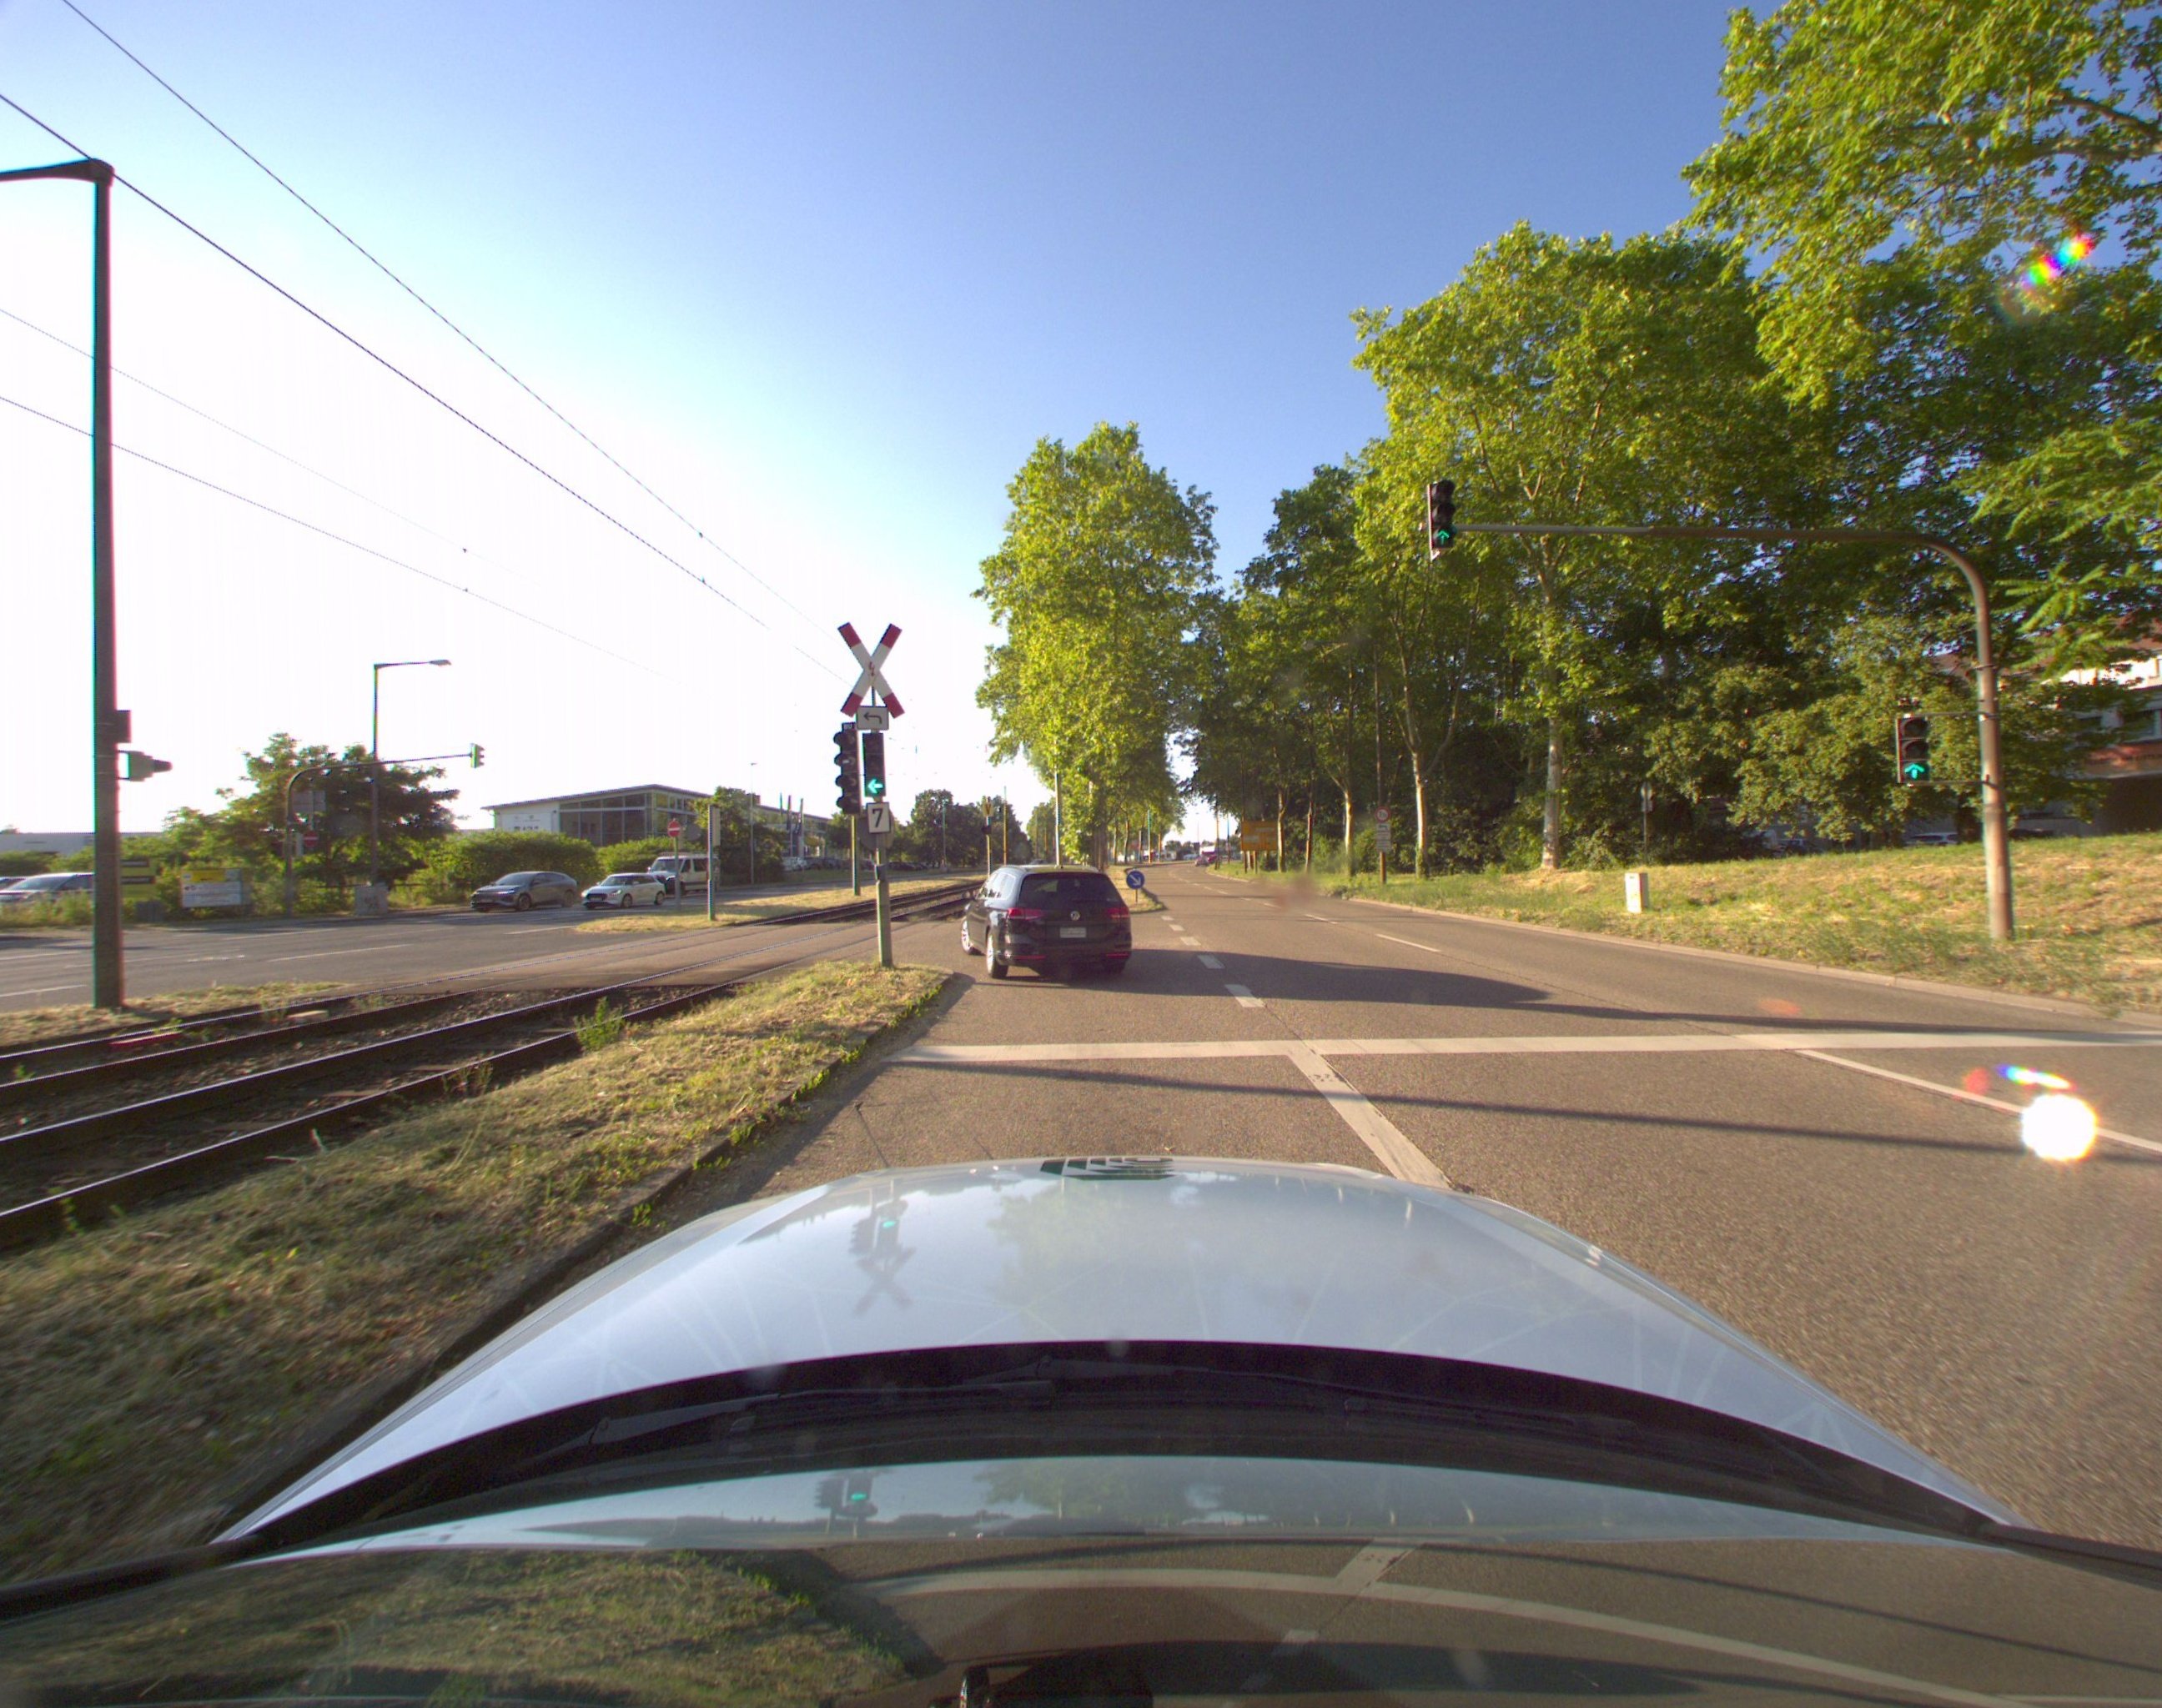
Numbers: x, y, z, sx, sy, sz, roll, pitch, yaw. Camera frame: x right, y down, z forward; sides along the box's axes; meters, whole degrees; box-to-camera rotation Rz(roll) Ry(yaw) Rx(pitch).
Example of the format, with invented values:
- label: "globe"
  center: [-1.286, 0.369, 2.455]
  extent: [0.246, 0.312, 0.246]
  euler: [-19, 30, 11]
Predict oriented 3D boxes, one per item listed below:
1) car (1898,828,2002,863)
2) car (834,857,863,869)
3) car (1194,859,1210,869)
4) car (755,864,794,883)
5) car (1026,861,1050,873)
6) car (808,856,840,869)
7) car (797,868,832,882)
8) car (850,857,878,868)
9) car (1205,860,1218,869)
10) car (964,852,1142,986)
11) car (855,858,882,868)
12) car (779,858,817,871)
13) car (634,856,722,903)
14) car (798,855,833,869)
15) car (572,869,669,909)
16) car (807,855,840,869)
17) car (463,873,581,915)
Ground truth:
- label: "car"
  center: [43.727, -0.426, 40.987]
  extent: [3.993, 1.706, 1.909]
  euler: [0, -1, -15]
- label: "car"
  center: [-31.616, 1.180, 110.911]
  extent: [3.796, 1.567, 1.749]
  euler: [0, -1, -17]
- label: "car"
  center: [18.107, 1.544, 121.617]
  extent: [1.979, 1.442, 4.015]
  euler: [-1, -1, 14]
- label: "car"
  center: [-32.193, 2.050, 85.653]
  extent: [3.796, 1.860, 1.749]
  euler: [0, -1, -17]
- label: "car"
  center: [-6.332, 1.913, 119.232]
  extent: [1.792, 1.684, 4.023]
  euler: [-1, -1, 25]
- label: "car"
  center: [-32.065, 1.079, 101.641]
  extent: [3.796, 1.567, 1.749]
  euler: [0, -1, -17]
- label: "car"
  center: [-31.307, 2.489, 95.719]
  extent: [3.796, 1.567, 1.749]
  euler: [0, -1, -17]
- label: "car"
  center: [-31.166, 1.275, 117.077]
  extent: [3.796, 1.567, 1.749]
  euler: [0, -1, -17]
- label: "car"
  center: [21.127, 1.656, 131.667]
  extent: [1.981, 1.440, 4.011]
  euler: [-1, -1, 10]
- label: "car"
  center: [-0.607, 0.788, 11.775]
  extent: [1.826, 1.556, 4.240]
  euler: [0, -1, -13]
- label: "car"
  center: [-31.292, 1.320, 119.872]
  extent: [3.796, 1.567, 1.749]
  euler: [0, -1, -17]
- label: "car"
  center: [-30.855, 1.111, 88.961]
  extent: [3.796, 1.388, 1.749]
  euler: [0, -1, -17]
- label: "car"
  center: [-23.591, 1.452, 47.969]
  extent: [1.995, 2.566, 5.880]
  euler: [-1, -1, 3]
- label: "car"
  center: [-30.406, 0.888, 93.249]
  extent: [3.796, 1.567, 1.749]
  euler: [0, -1, -17]
- label: "car"
  center: [-20.067, 1.501, 35.705]
  extent: [1.863, 1.618, 4.001]
  euler: [-1, -1, 1]
- label: "car"
  center: [-31.264, 0.986, 98.955]
  extent: [3.796, 1.567, 1.749]
  euler: [0, -1, -17]
- label: "car"
  center: [-24.098, 1.669, 35.360]
  extent: [1.863, 1.618, 4.549]
  euler: [-1, -1, 2]
